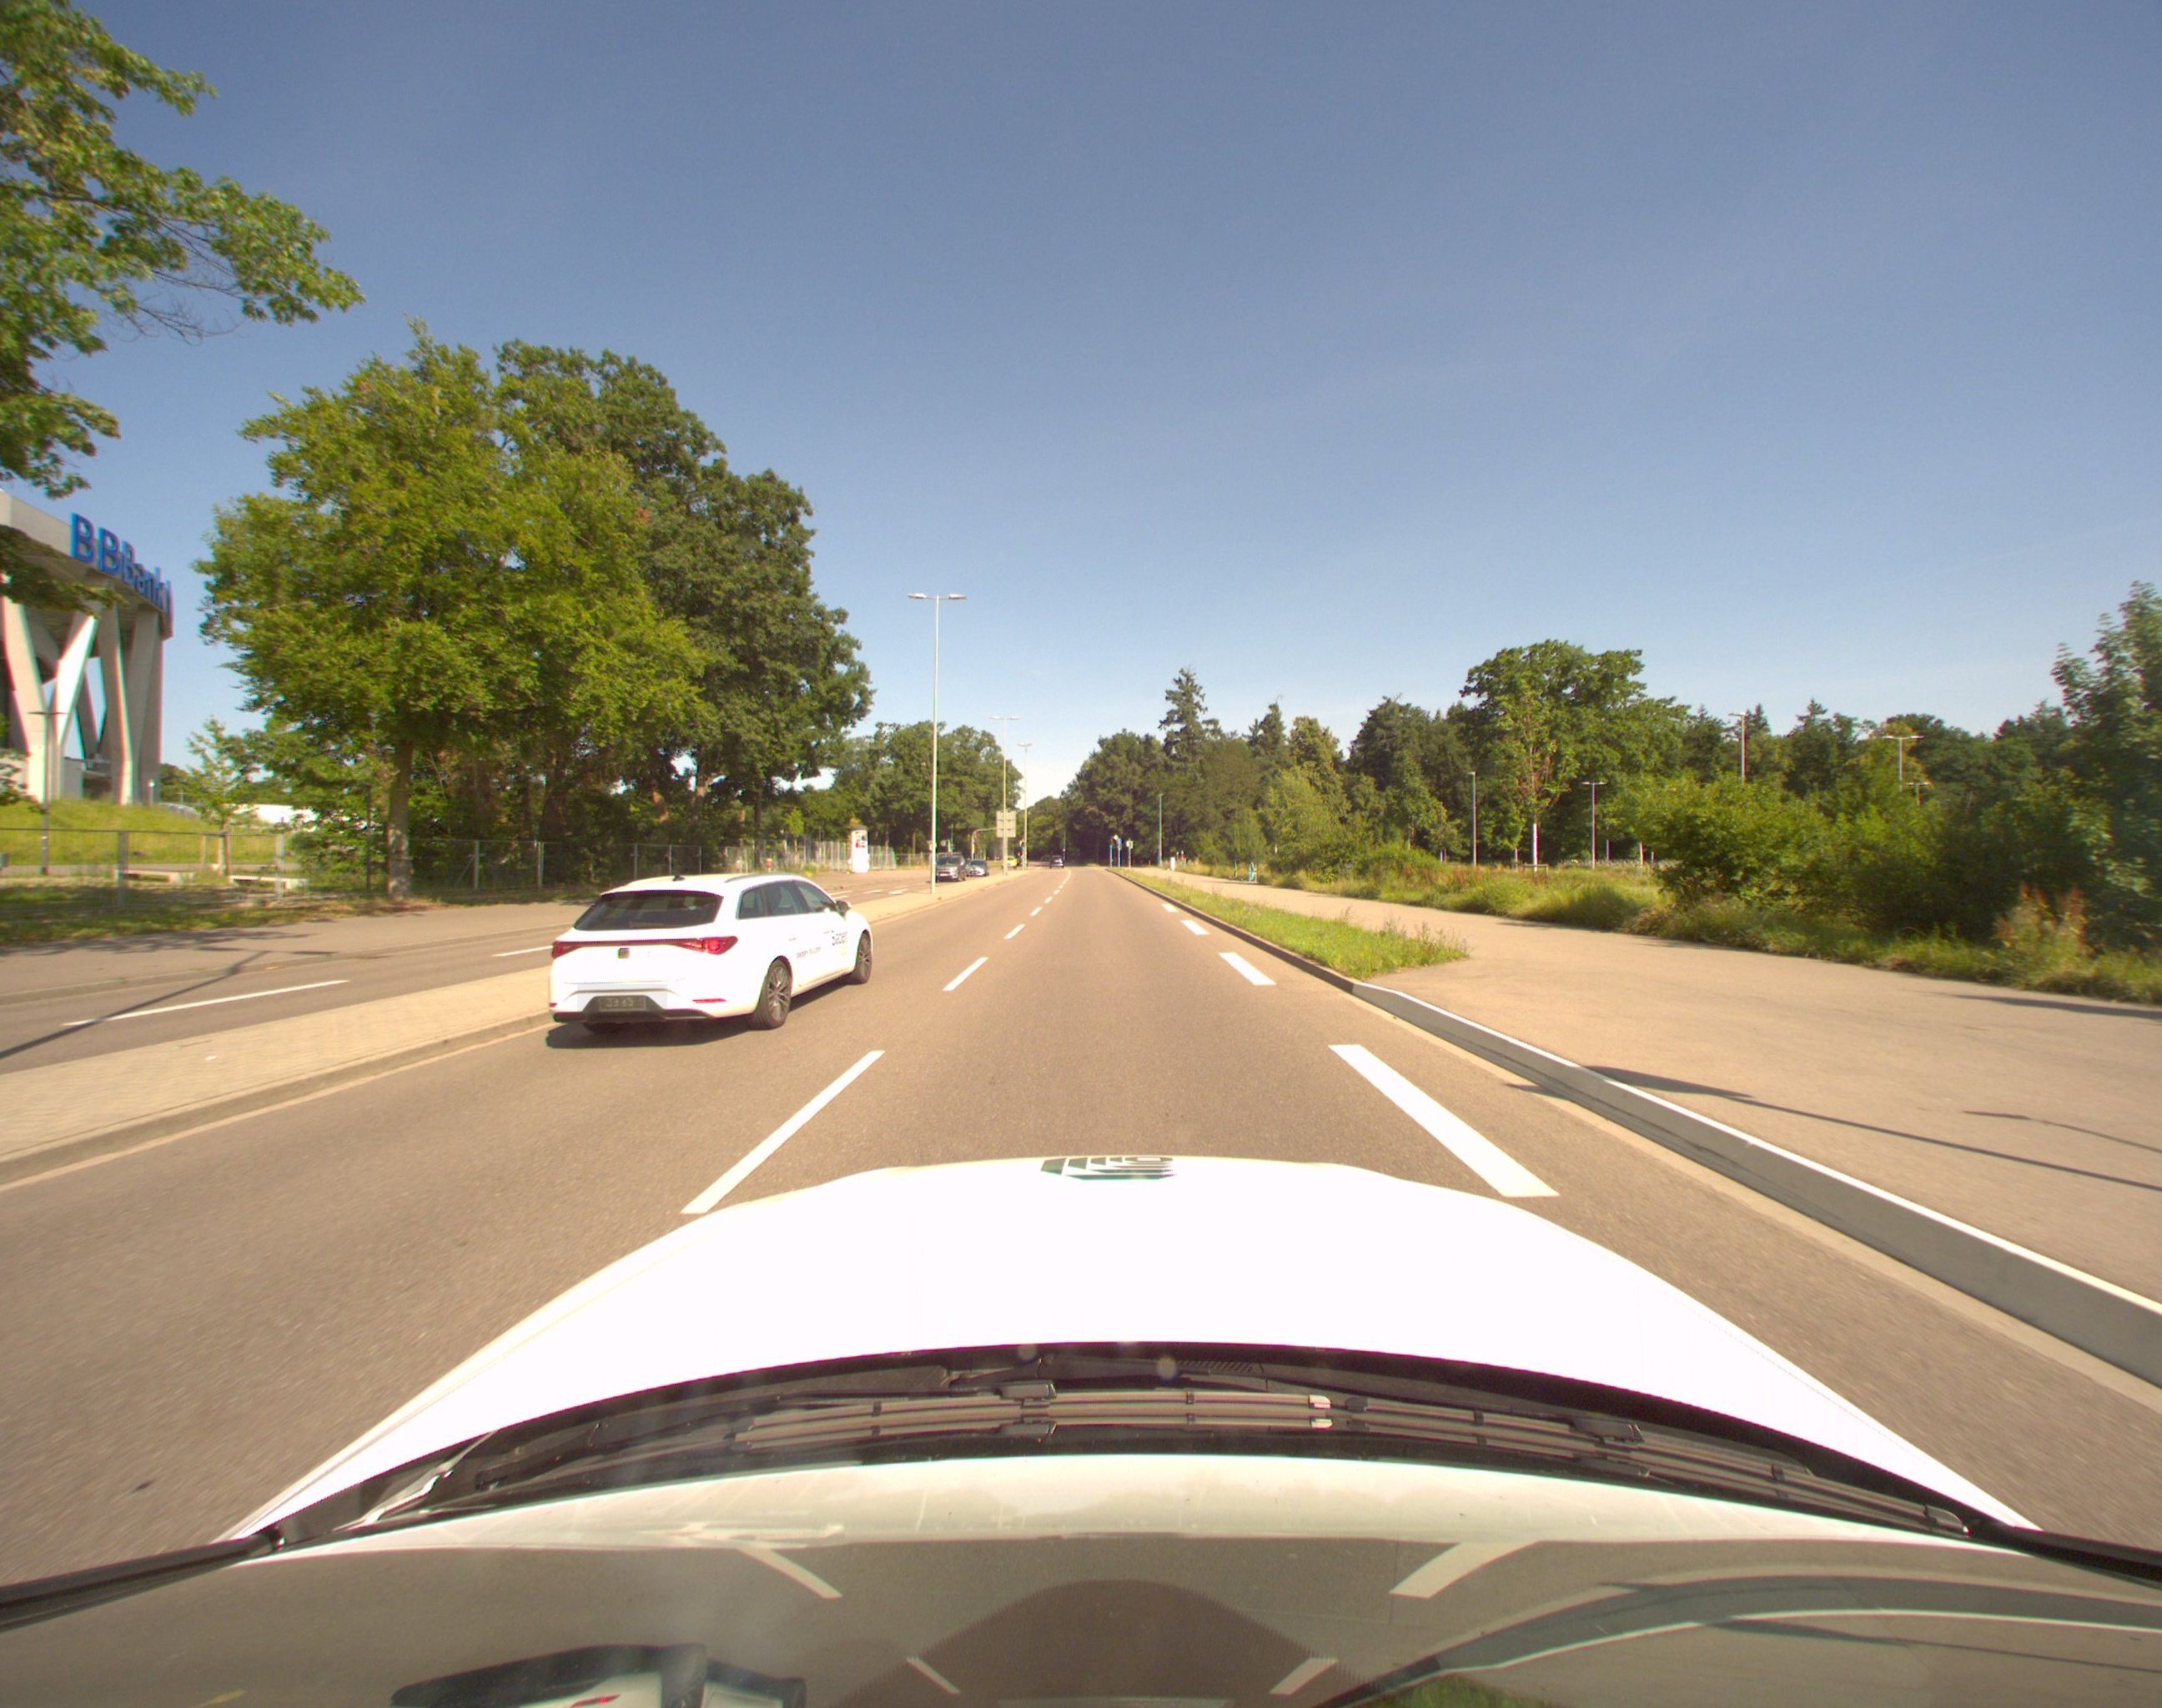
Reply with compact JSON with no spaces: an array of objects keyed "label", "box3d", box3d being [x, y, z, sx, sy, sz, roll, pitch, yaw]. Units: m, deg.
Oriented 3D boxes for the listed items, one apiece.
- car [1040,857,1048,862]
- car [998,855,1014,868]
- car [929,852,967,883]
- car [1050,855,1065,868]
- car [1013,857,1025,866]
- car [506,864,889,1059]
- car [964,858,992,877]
[{"label":"car","box3d":[-9.402,1.414,207.702,1.936,1.420,4.288,0,0,-3]},{"label":"car","box3d":[-9.694,0.953,105.745,1.841,1.618,3.997,0,0,-2]},{"label":"car","box3d":[-8.834,0.869,54.393,1.836,1.932,4.627,-1,0,-1]},{"label":"car","box3d":[-2.929,0.966,103.015,1.682,1.544,4.148,-1,0,0]},{"label":"car","box3d":[-10.151,1.160,133.804,1.816,1.464,3.994,0,0,-4]},{"label":"car","box3d":[-3.589,0.881,8.790,1.718,1.427,4.722,-1,0,2]},{"label":"car","box3d":[-8.635,1.116,68.478,1.903,1.585,3.998,0,0,-1]}]
